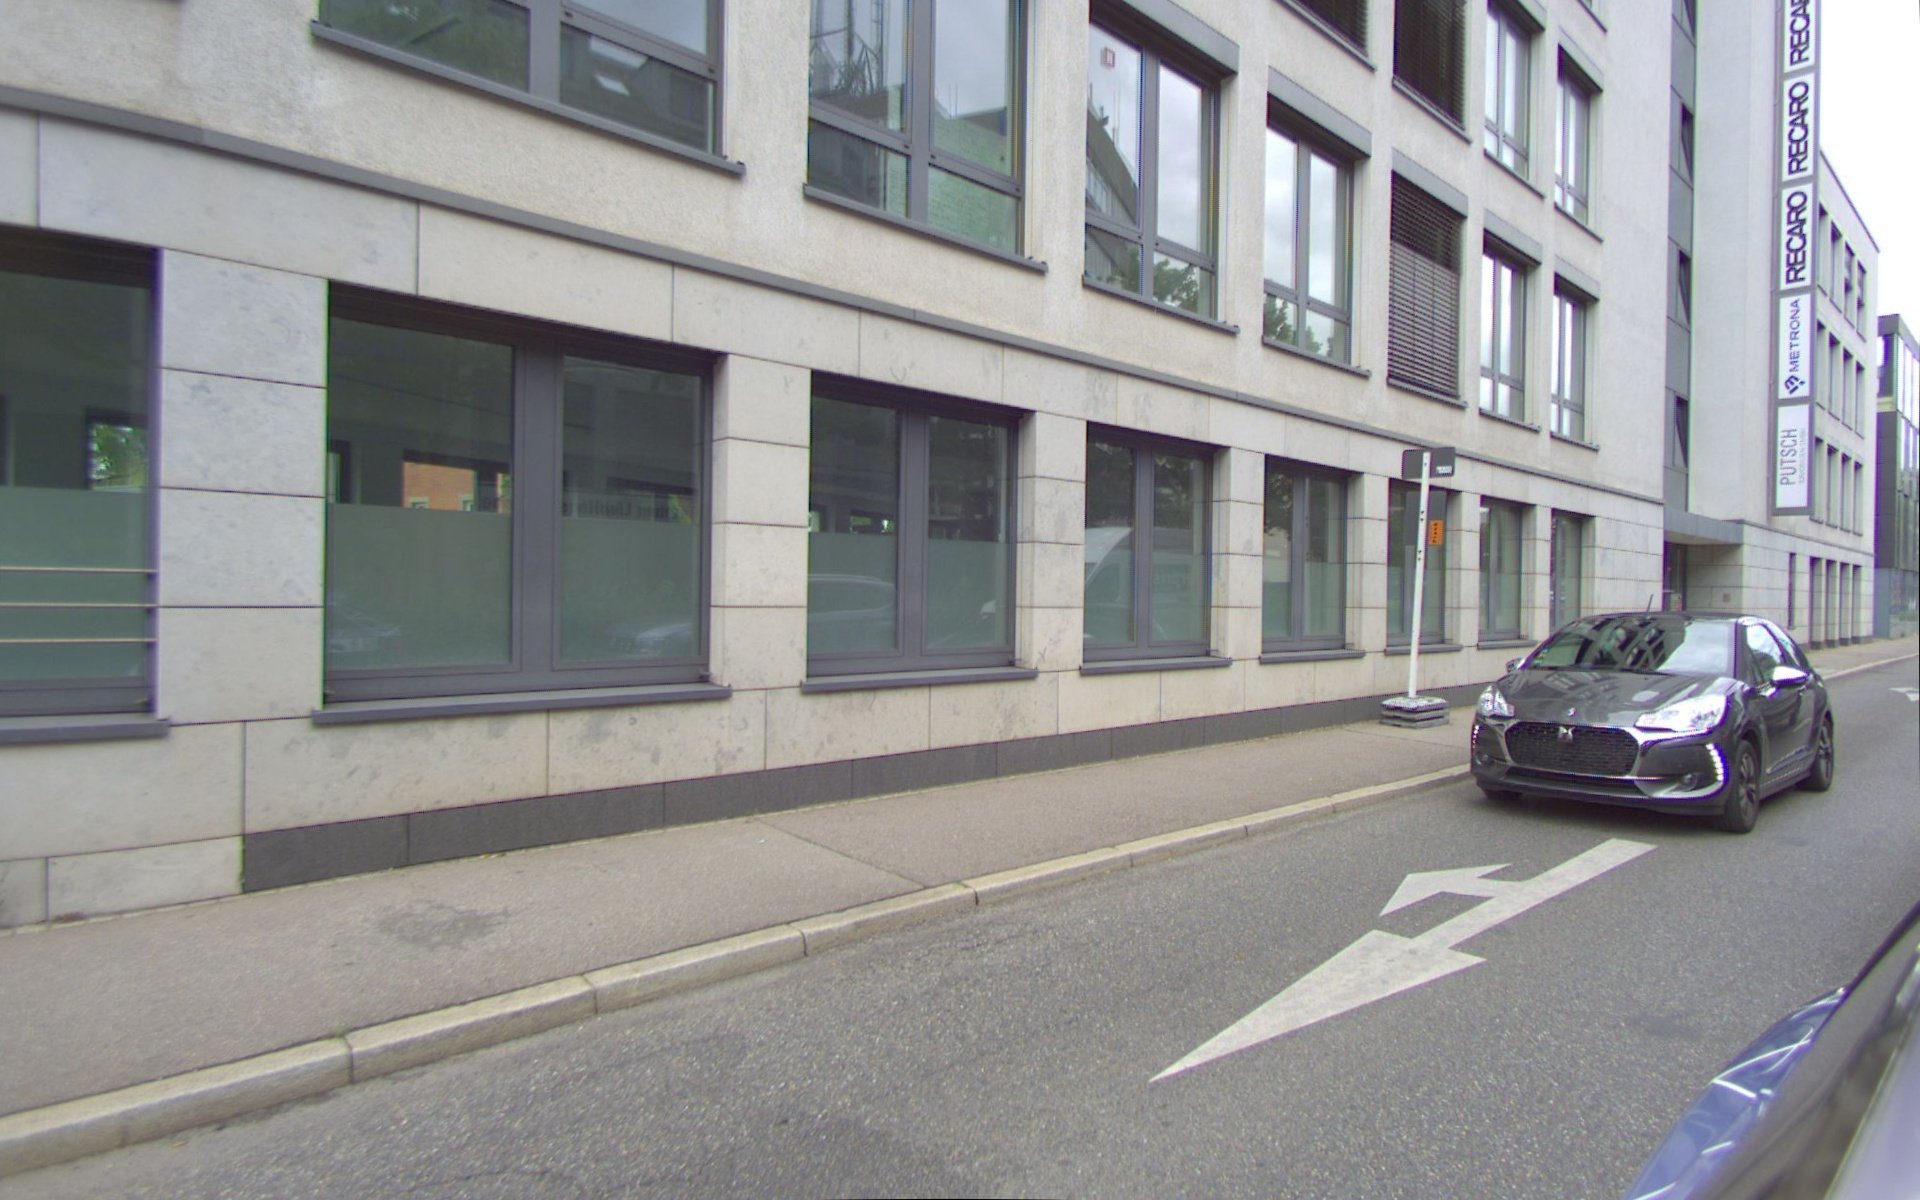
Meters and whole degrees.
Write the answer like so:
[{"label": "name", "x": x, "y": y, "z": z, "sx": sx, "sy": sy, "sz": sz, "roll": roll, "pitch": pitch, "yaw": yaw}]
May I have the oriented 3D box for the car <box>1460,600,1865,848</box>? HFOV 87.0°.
[{"label": "car", "x": 5.692, "y": 0.747, "z": 8.014, "sx": 3.991, "sy": 1.479, "sz": 1.703, "roll": 0, "pitch": -1, "yaw": -41}]
